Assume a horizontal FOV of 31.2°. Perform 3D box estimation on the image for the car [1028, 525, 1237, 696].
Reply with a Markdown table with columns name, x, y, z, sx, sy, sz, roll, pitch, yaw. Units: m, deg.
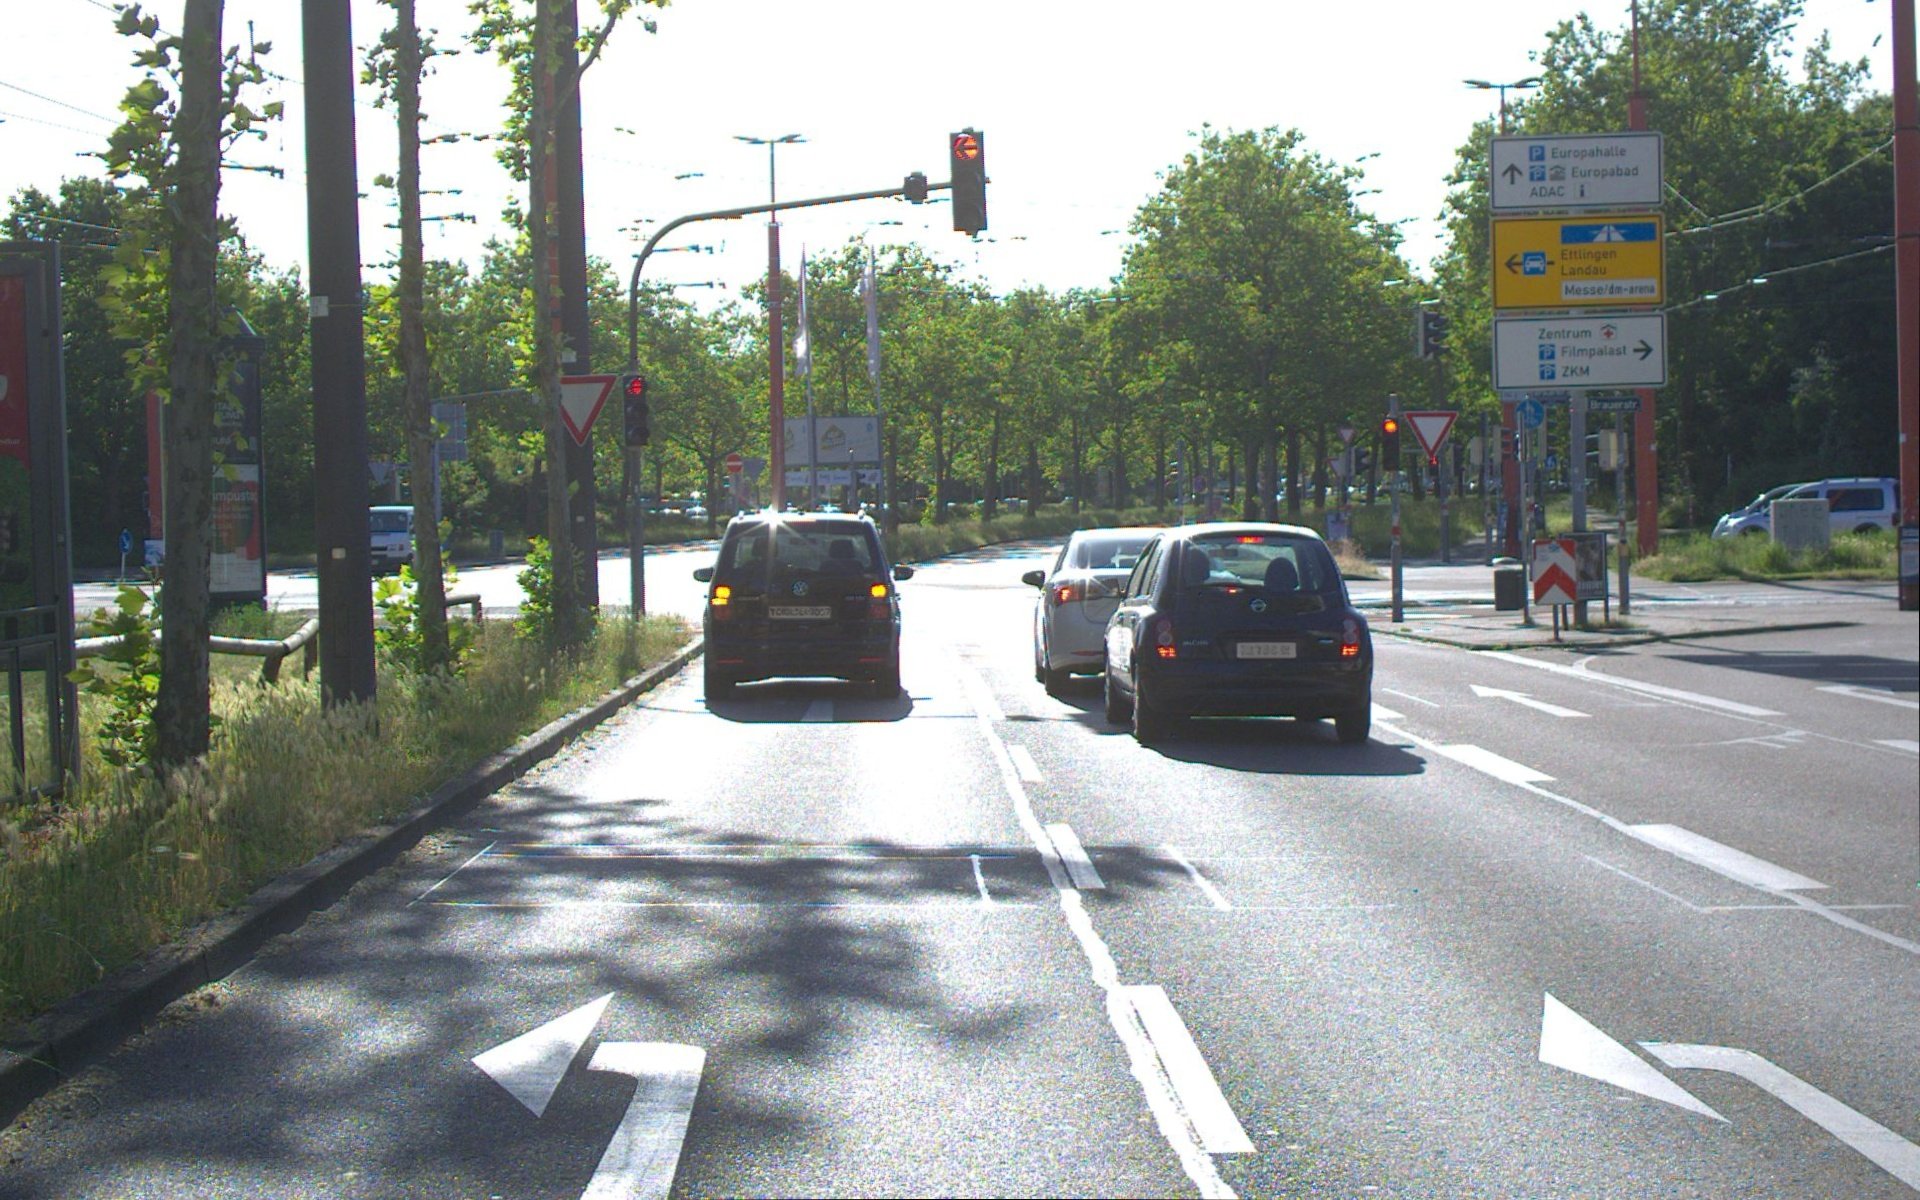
| name | x | y | z | sx | sy | sz | roll | pitch | yaw |
| --- | --- | --- | --- | --- | --- | --- | --- | --- | --- |
| car | 1.529 | 0.057 | 31.672 | 1.678 | 1.470 | 4.131 | 0 | 1 | 0 |

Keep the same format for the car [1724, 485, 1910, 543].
| name | x | y | z | sx | sy | sz | roll | pitch | yaw |
| --- | --- | --- | --- | --- | --- | --- | --- | --- | --- |
| car | 20.155 | -2.014 | 80.876 | 3.992 | 1.333 | 1.727 | 0 | 1 | 25 |

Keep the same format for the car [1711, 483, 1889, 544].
| name | x | y | z | sx | sy | sz | roll | pitch | yaw |
| --- | --- | --- | --- | --- | --- | --- | --- | --- | --- |
| car | 20.580 | -2.113 | 84.241 | 3.992 | 1.471 | 1.787 | 0 | 1 | 24 |

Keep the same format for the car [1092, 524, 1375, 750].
| name | x | y | z | sx | sy | sz | roll | pitch | yaw |
| --- | --- | --- | --- | --- | --- | --- | --- | --- | --- |
| car | 1.922 | 0.210 | 25.039 | 1.638 | 1.489 | 3.504 | 0 | 2 | -2 |

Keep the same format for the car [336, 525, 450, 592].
| name | x | y | z | sx | sy | sz | roll | pitch | yaw |
| --- | --- | --- | --- | --- | --- | --- | --- | --- | --- |
| car | -15.332 | -1.145 | 93.216 | 1.823 | 1.774 | 4.566 | 0 | 1 | 7 |

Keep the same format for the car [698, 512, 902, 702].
| name | x | y | z | sx | sy | sz | roll | pitch | yaw |
| --- | --- | --- | --- | --- | --- | --- | --- | --- | --- |
| car | -1.435 | 0.029 | 31.031 | 1.710 | 1.598 | 3.350 | 1 | 1 | -2 |
